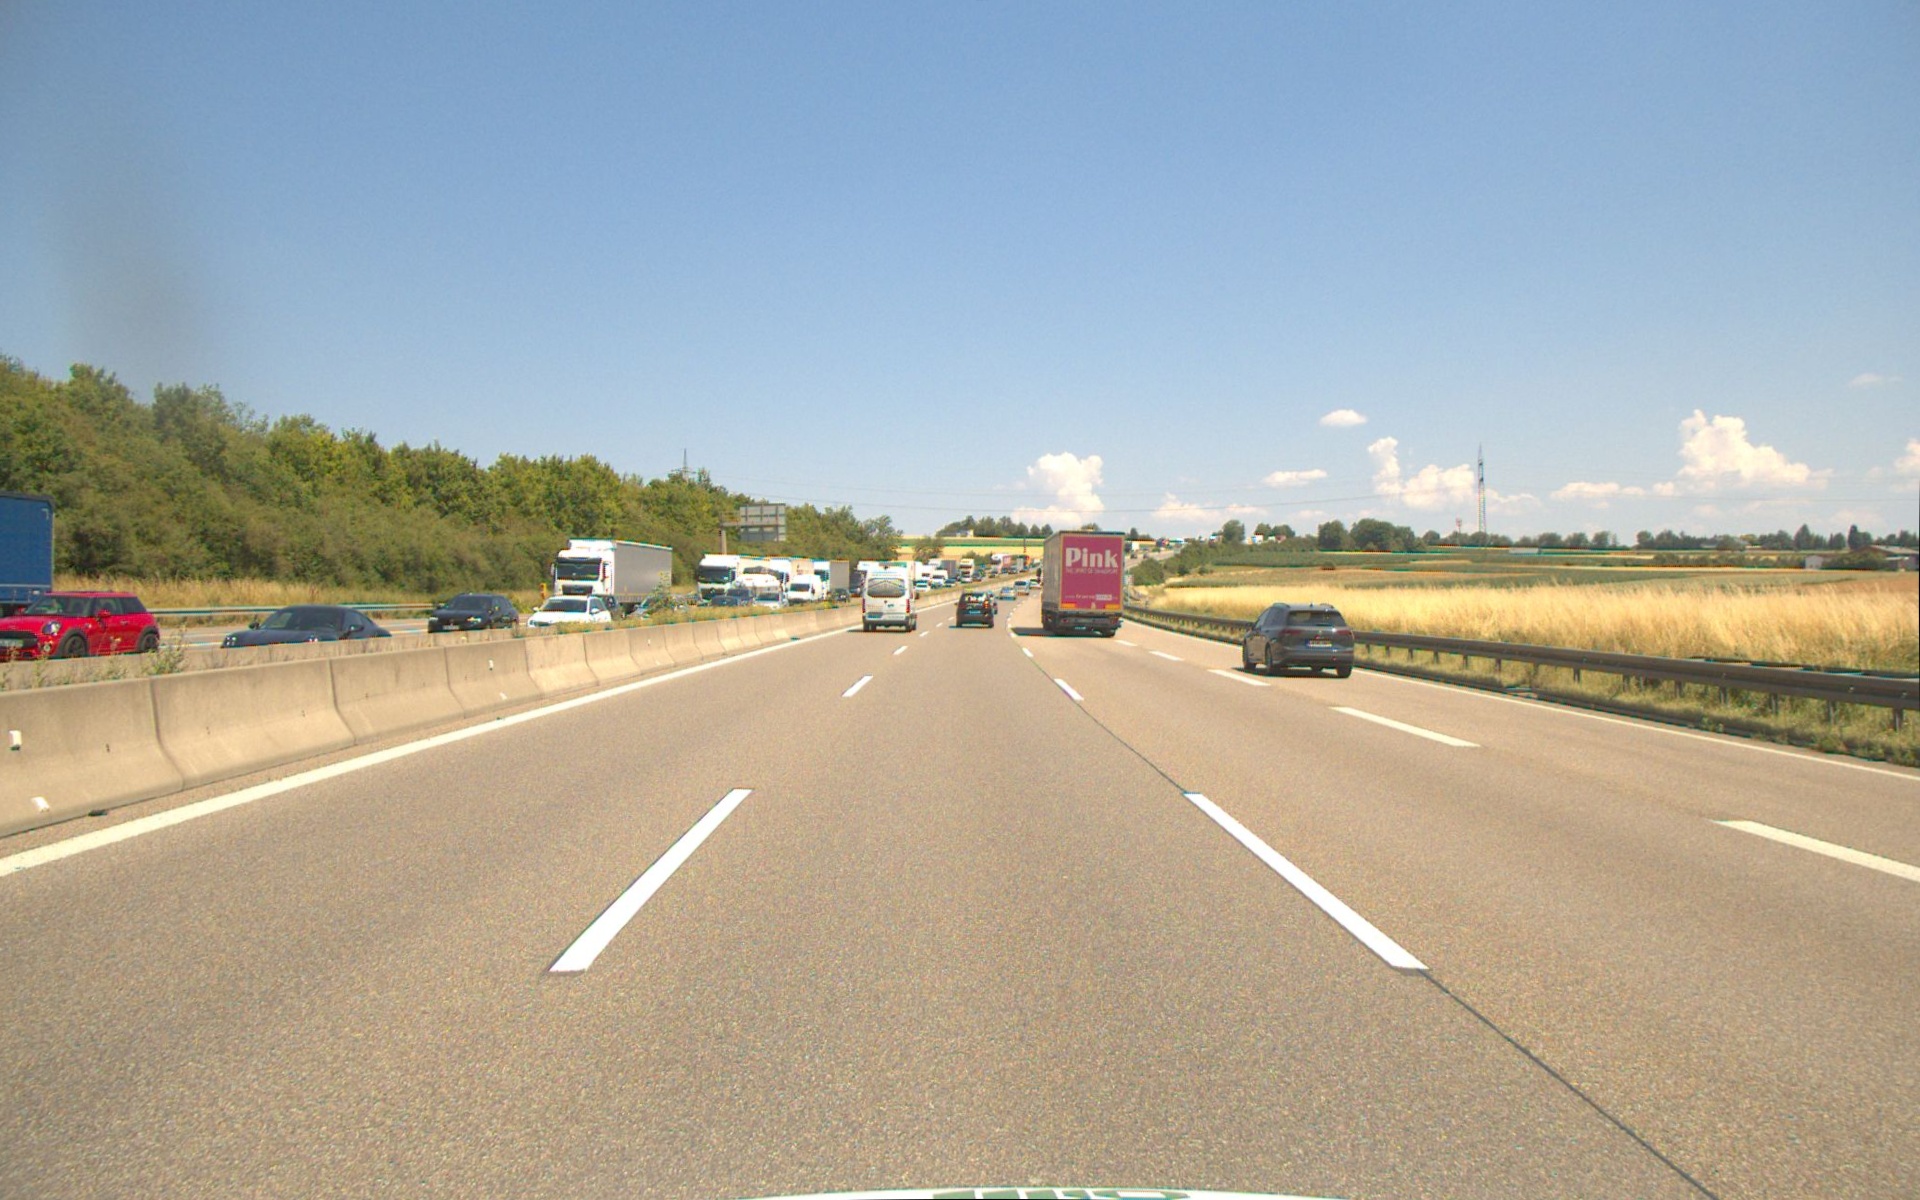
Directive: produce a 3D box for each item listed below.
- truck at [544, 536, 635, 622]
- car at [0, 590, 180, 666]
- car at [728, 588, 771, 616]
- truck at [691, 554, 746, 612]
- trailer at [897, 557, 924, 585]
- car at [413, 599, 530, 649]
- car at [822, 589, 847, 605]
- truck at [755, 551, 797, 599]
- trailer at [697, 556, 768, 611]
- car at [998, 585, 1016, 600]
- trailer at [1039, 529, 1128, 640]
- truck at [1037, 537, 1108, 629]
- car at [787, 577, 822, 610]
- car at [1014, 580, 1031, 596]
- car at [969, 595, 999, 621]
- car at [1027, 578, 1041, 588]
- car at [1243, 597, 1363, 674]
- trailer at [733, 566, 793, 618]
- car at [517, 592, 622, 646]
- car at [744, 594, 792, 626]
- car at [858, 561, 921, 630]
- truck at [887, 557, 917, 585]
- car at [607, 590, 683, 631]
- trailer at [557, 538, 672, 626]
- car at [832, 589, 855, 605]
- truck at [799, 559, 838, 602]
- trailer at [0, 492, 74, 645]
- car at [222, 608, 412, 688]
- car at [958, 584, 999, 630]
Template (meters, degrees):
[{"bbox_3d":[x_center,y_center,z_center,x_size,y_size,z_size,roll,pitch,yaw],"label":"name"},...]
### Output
[{"bbox_3d":[-18.805,-1.053,84.361,3.133,4.205,6.184,0,0,1],"label":"truck"},{"bbox_3d":[-17.596,0.528,33.125,1.710,1.429,4.214,0,0,4],"label":"car"},{"bbox_3d":[-13.131,0.124,103.434,2.064,1.753,4.931,0,0,0],"label":"car"},{"bbox_3d":[-17.447,-1.251,119.713,2.789,4.077,5.977,0,0,3],"label":"truck"},{"bbox_3d":[-7.413,-4.416,250.722,2.858,4.142,8.237,-1,1,7],"label":"trailer"},{"bbox_3d":[-15.120,0.722,51.446,1.838,1.475,4.635,0,0,6],"label":"car"},{"bbox_3d":[-11.987,-0.301,158.417,1.837,1.459,4.926,1,1,2],"label":"car"},{"bbox_3d":[-16.084,-2.199,145.007,2.698,4.113,6.101,1,1,2],"label":"truck"},{"bbox_3d":[-17.170,-1.212,125.851,2.842,3.940,13.882,0,0,3],"label":"trailer"},{"bbox_3d":[5.176,-0.819,181.780,1.952,1.612,4.001,0,1,2],"label":"car"},{"bbox_3d":[5.032,-0.733,70.006,2.858,4.189,13.861,1,1,1],"label":"trailer"},{"bbox_3d":[5.158,-0.832,77.022,2.856,4.078,6.512,1,1,0],"label":"truck"},{"bbox_3d":[-12.634,-0.564,134.735,1.858,2.619,7.575,0,0,2],"label":"car"},{"bbox_3d":[7.882,-1.448,207.837,1.951,1.937,4.002,1,0,4],"label":"car"},{"bbox_3d":[1.693,0.588,116.825,1.952,1.780,4.002,1,0,3],"label":"car"},{"bbox_3d":[11.015,-2.488,245.816,1.952,1.333,4.003,0,2,3],"label":"car"},{"bbox_3d":[7.181,0.714,35.020,1.724,1.496,4.537,1,0,2],"label":"car"},{"bbox_3d":[-13.153,-0.499,111.172,2.811,3.239,10.728,1,0,0],"label":"trailer"},{"bbox_3d":[-11.631,0.538,49.648,1.953,1.547,5.151,0,0,0],"label":"car"},{"bbox_3d":[-10.656,0.531,92.254,1.803,1.706,4.444,0,0,5],"label":"car"},{"bbox_3d":[-2.837,-0.167,67.670,2.134,2.670,4.673,1,0,2],"label":"car"},{"bbox_3d":[-8.377,-4.227,241.013,2.782,3.966,11.257,-1,1,6],"label":"truck"},{"bbox_3d":[-11.821,0.377,62.332,1.953,1.470,4.792,0,0,0],"label":"car"},{"bbox_3d":[-18.724,-0.960,90.798,3.155,4.498,13.782,0,0,1],"label":"trailer"},{"bbox_3d":[-13.410,-0.359,191.270,1.951,1.756,4.409,0,0,5],"label":"car"},{"bbox_3d":[-14.341,-1.997,167.980,2.899,4.283,6.608,1,0,5],"label":"truck"},{"bbox_3d":[-27.008,-0.827,39.978,3.017,4.040,14.496,1,1,1],"label":"trailer"},{"bbox_3d":[-11.364,0.810,29.529,1.754,1.298,4.221,0,0,0],"label":"car"},{"bbox_3d":[0.896,0.304,78.066,1.809,1.893,4.208,0,3,2],"label":"car"}]
